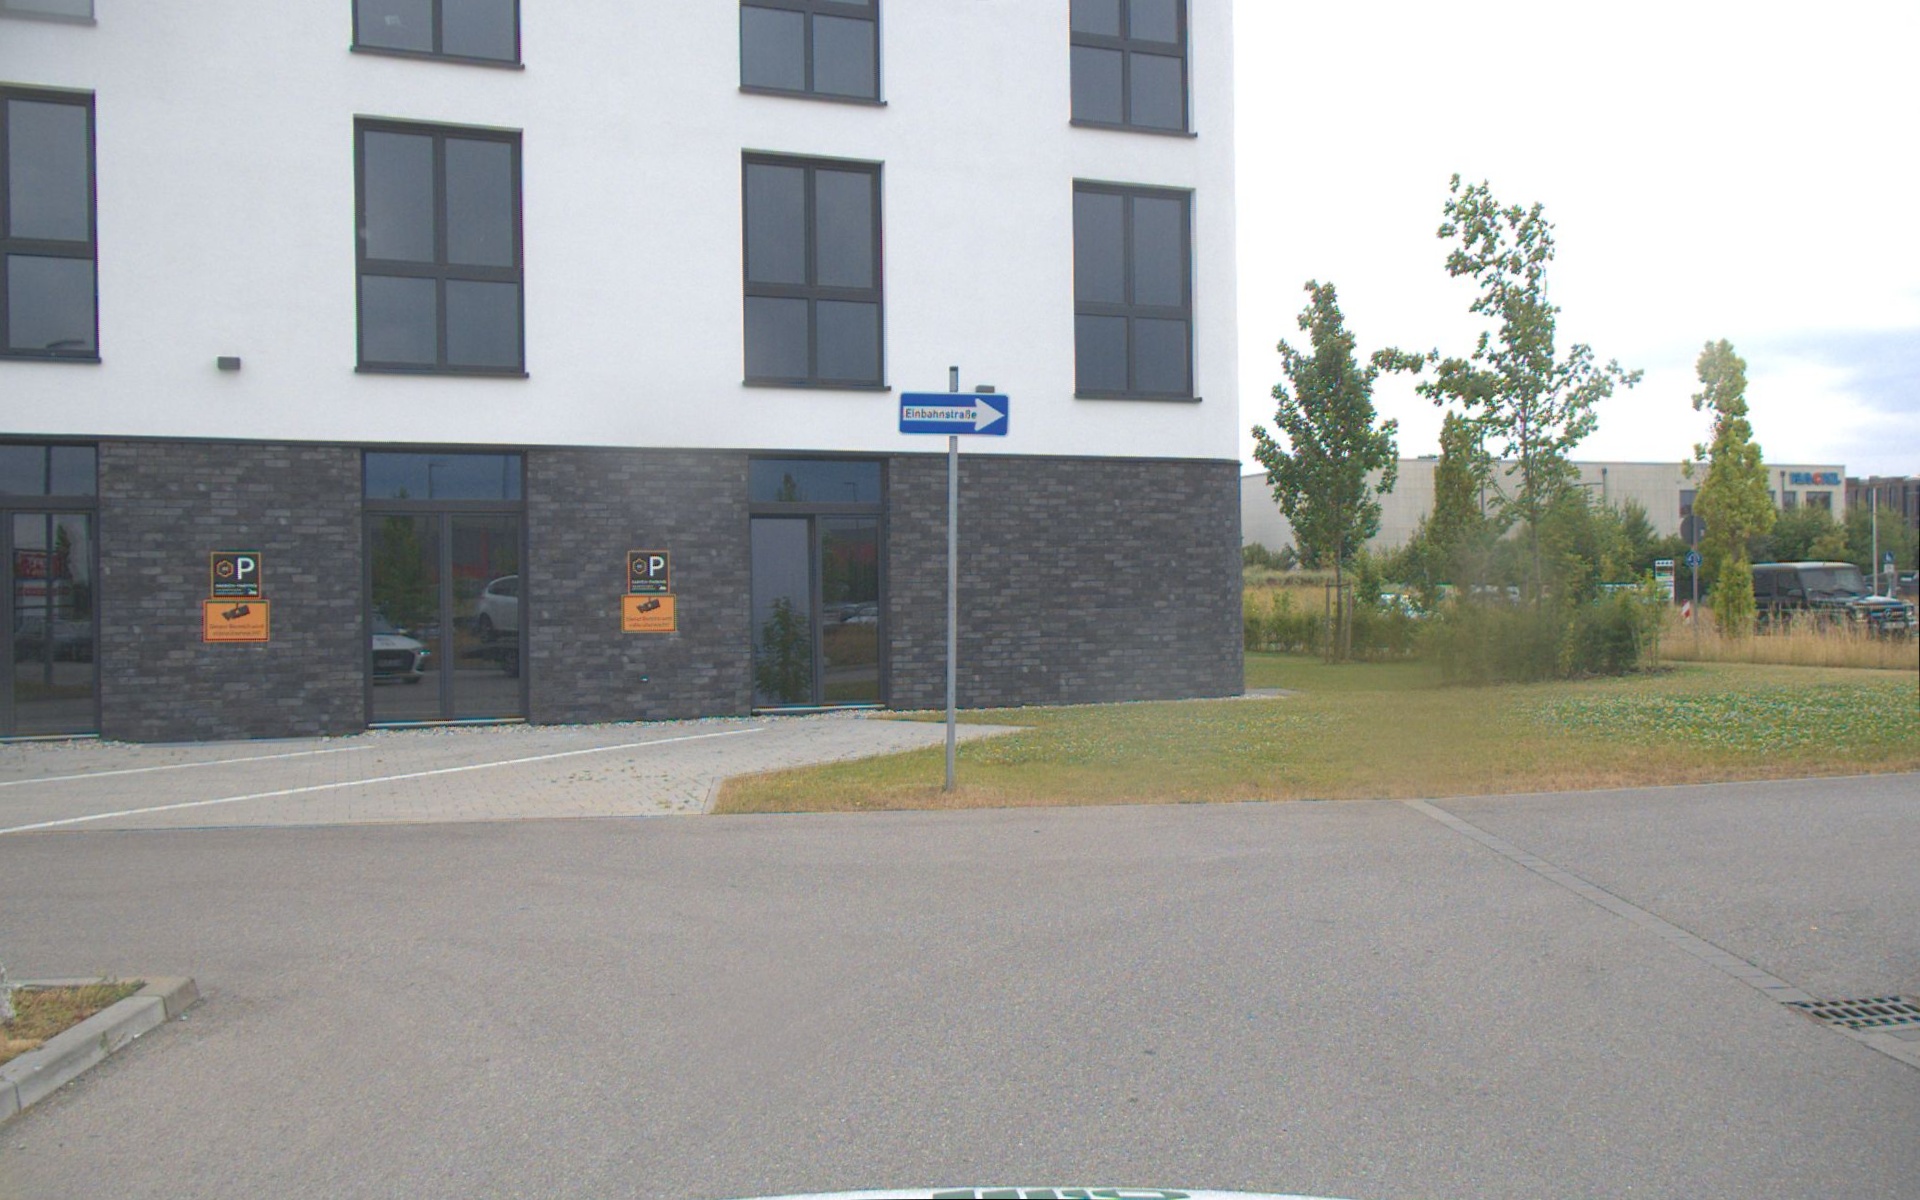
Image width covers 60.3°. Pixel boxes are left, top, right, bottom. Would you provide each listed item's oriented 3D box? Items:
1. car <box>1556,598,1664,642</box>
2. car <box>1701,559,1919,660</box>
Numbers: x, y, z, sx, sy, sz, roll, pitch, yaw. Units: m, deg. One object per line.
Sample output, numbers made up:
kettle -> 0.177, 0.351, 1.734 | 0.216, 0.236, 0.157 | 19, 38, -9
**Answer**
car -> 21.944, 0.663, 56.028 | 1.681, 1.366, 3.957 | -1, 1, -8
car -> 18.187, 0.140, 35.371 | 1.956, 1.957, 4.839 | -1, 1, -9
